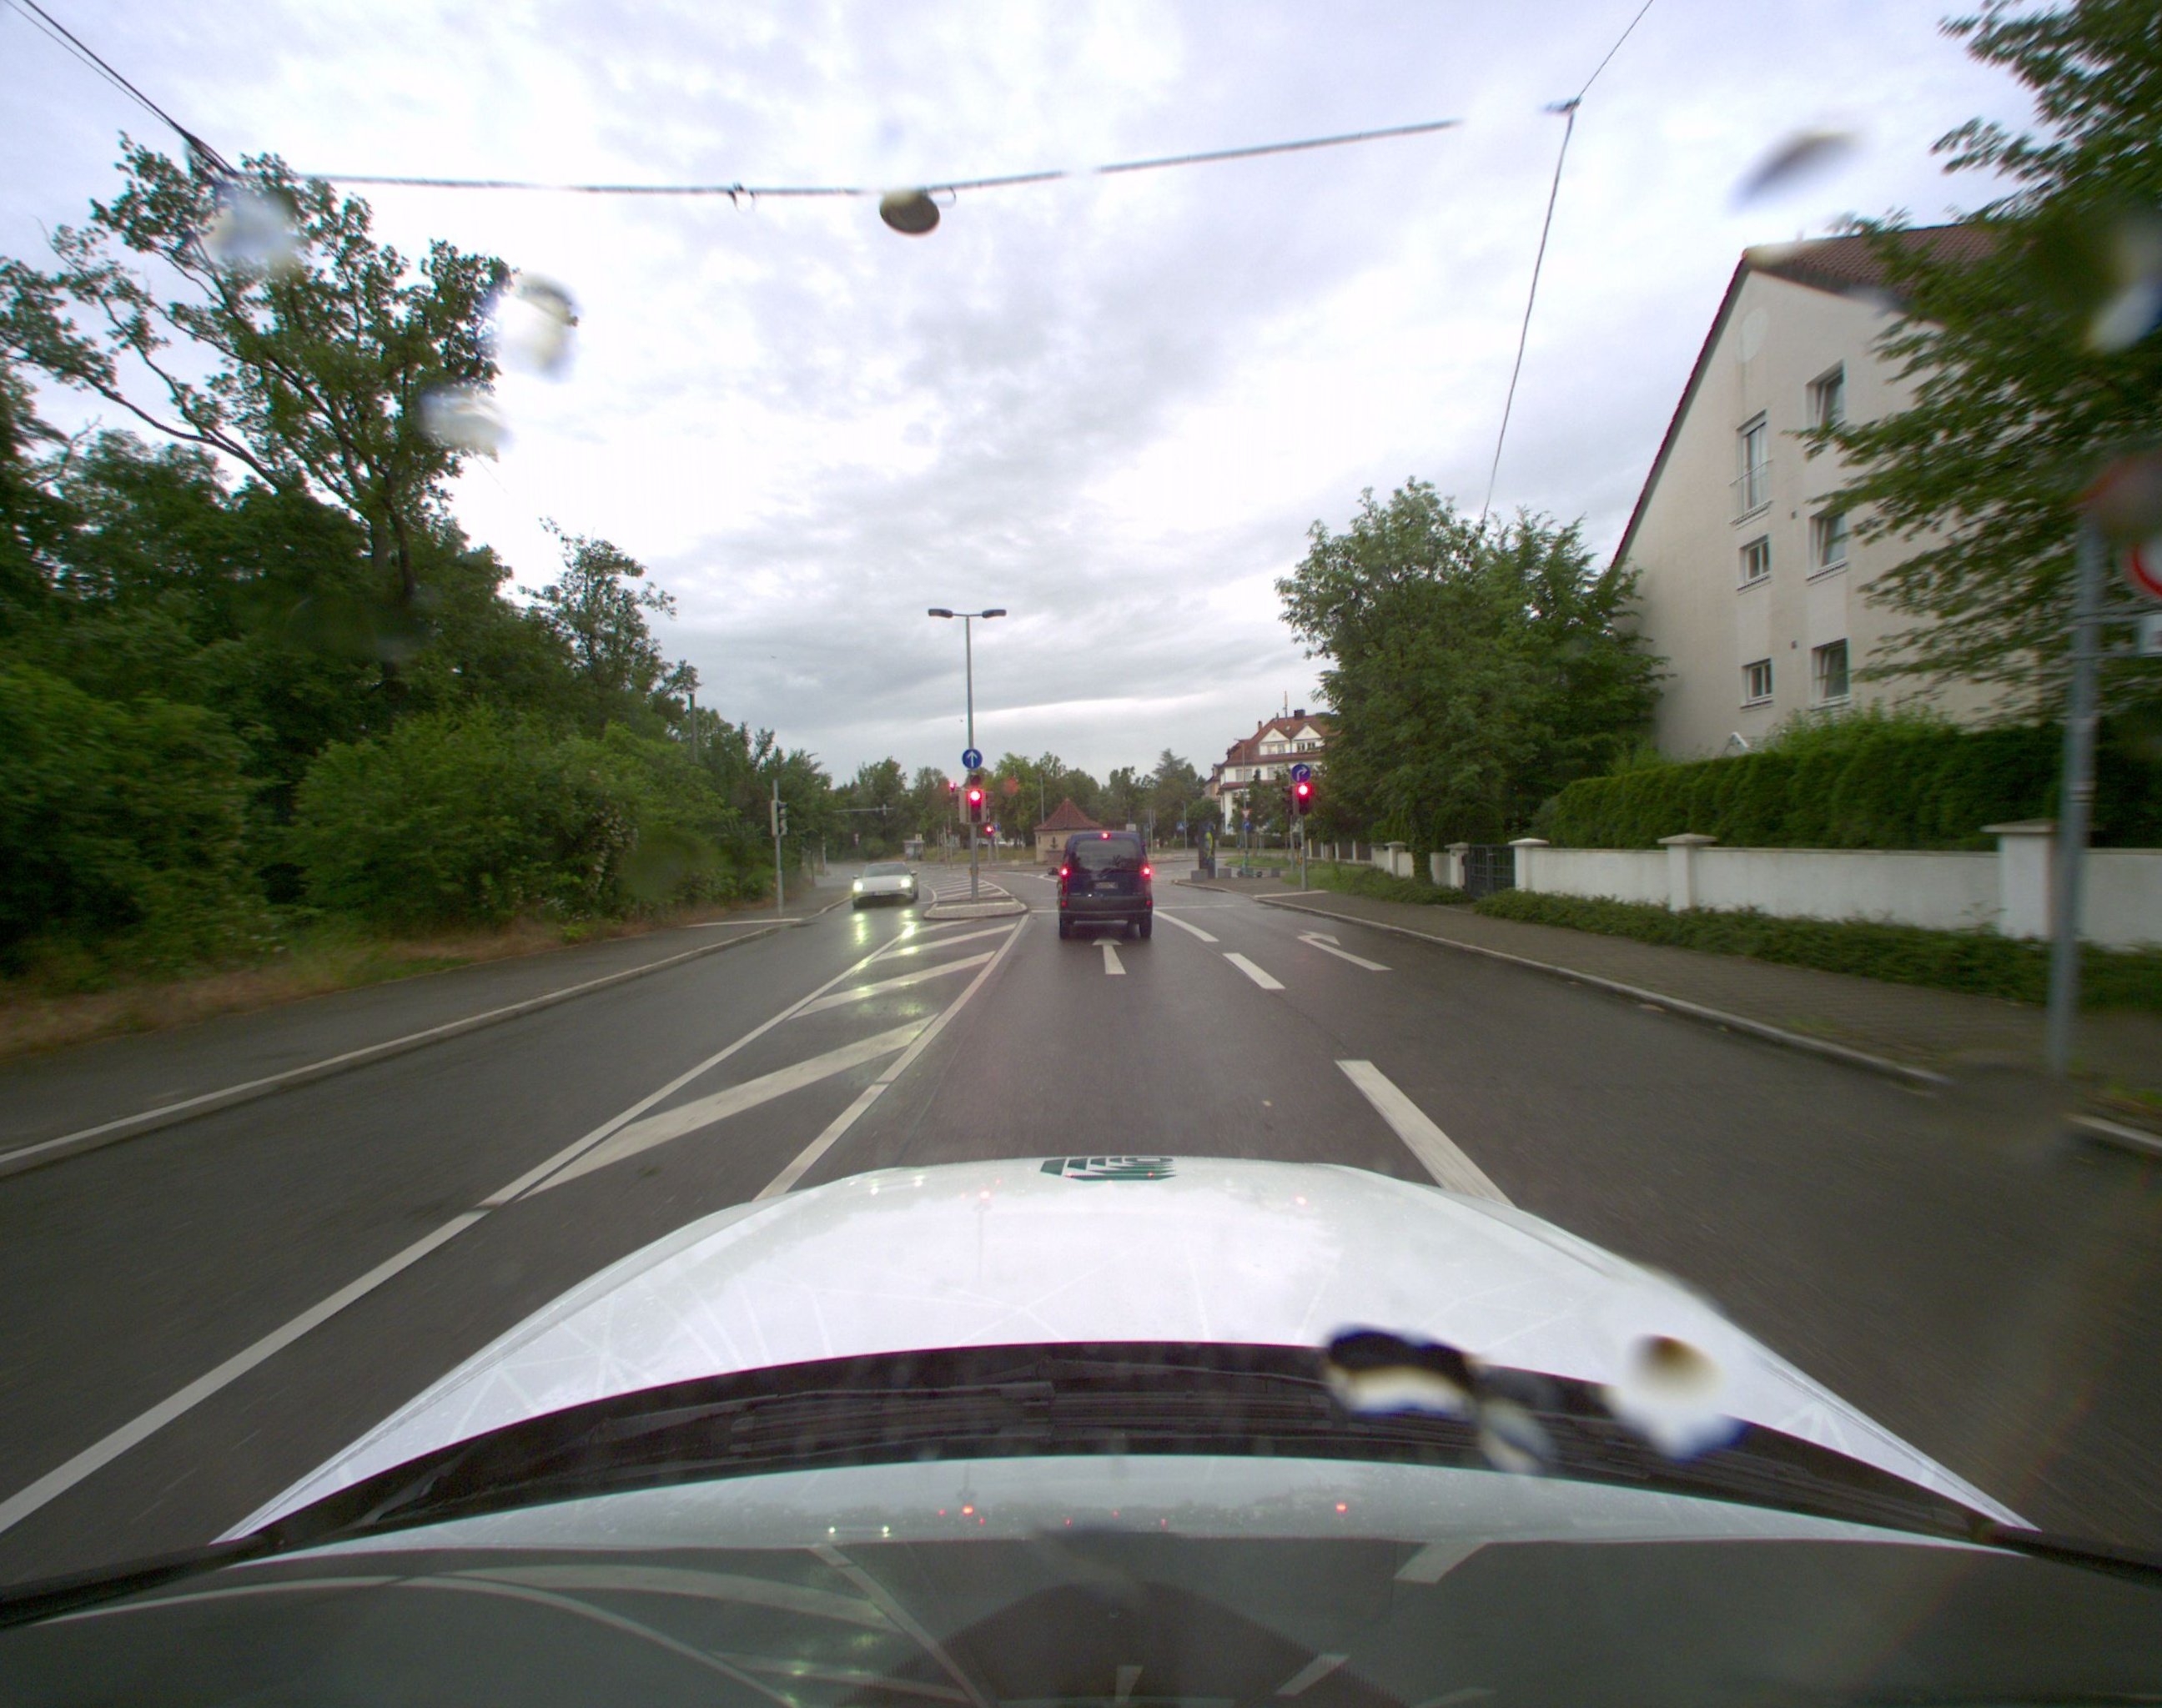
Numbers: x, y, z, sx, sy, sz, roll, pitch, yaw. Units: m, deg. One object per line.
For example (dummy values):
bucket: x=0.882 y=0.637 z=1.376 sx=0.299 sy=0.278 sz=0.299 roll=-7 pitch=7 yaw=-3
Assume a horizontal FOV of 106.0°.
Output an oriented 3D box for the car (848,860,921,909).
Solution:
car: x=-6.534 y=0.957 z=27.549 sx=1.994 sy=1.311 sz=4.345 roll=-5 pitch=1 yaw=-10

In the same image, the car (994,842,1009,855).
car: x=-11.609 y=-0.822 z=119.064 sx=1.989 sy=1.812 sz=3.995 roll=-1 pitch=-1 yaw=-3

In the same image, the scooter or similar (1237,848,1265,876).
scooter or similar: x=7.709 y=0.367 z=36.979 sx=1.145 sy=1.219 sz=0.406 roll=-2 pitch=-1 yaw=-1

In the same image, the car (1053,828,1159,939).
car: x=0.375 y=0.468 z=15.398 sx=1.727 sy=1.786 sz=3.998 roll=-1 pitch=0 yaw=-1
